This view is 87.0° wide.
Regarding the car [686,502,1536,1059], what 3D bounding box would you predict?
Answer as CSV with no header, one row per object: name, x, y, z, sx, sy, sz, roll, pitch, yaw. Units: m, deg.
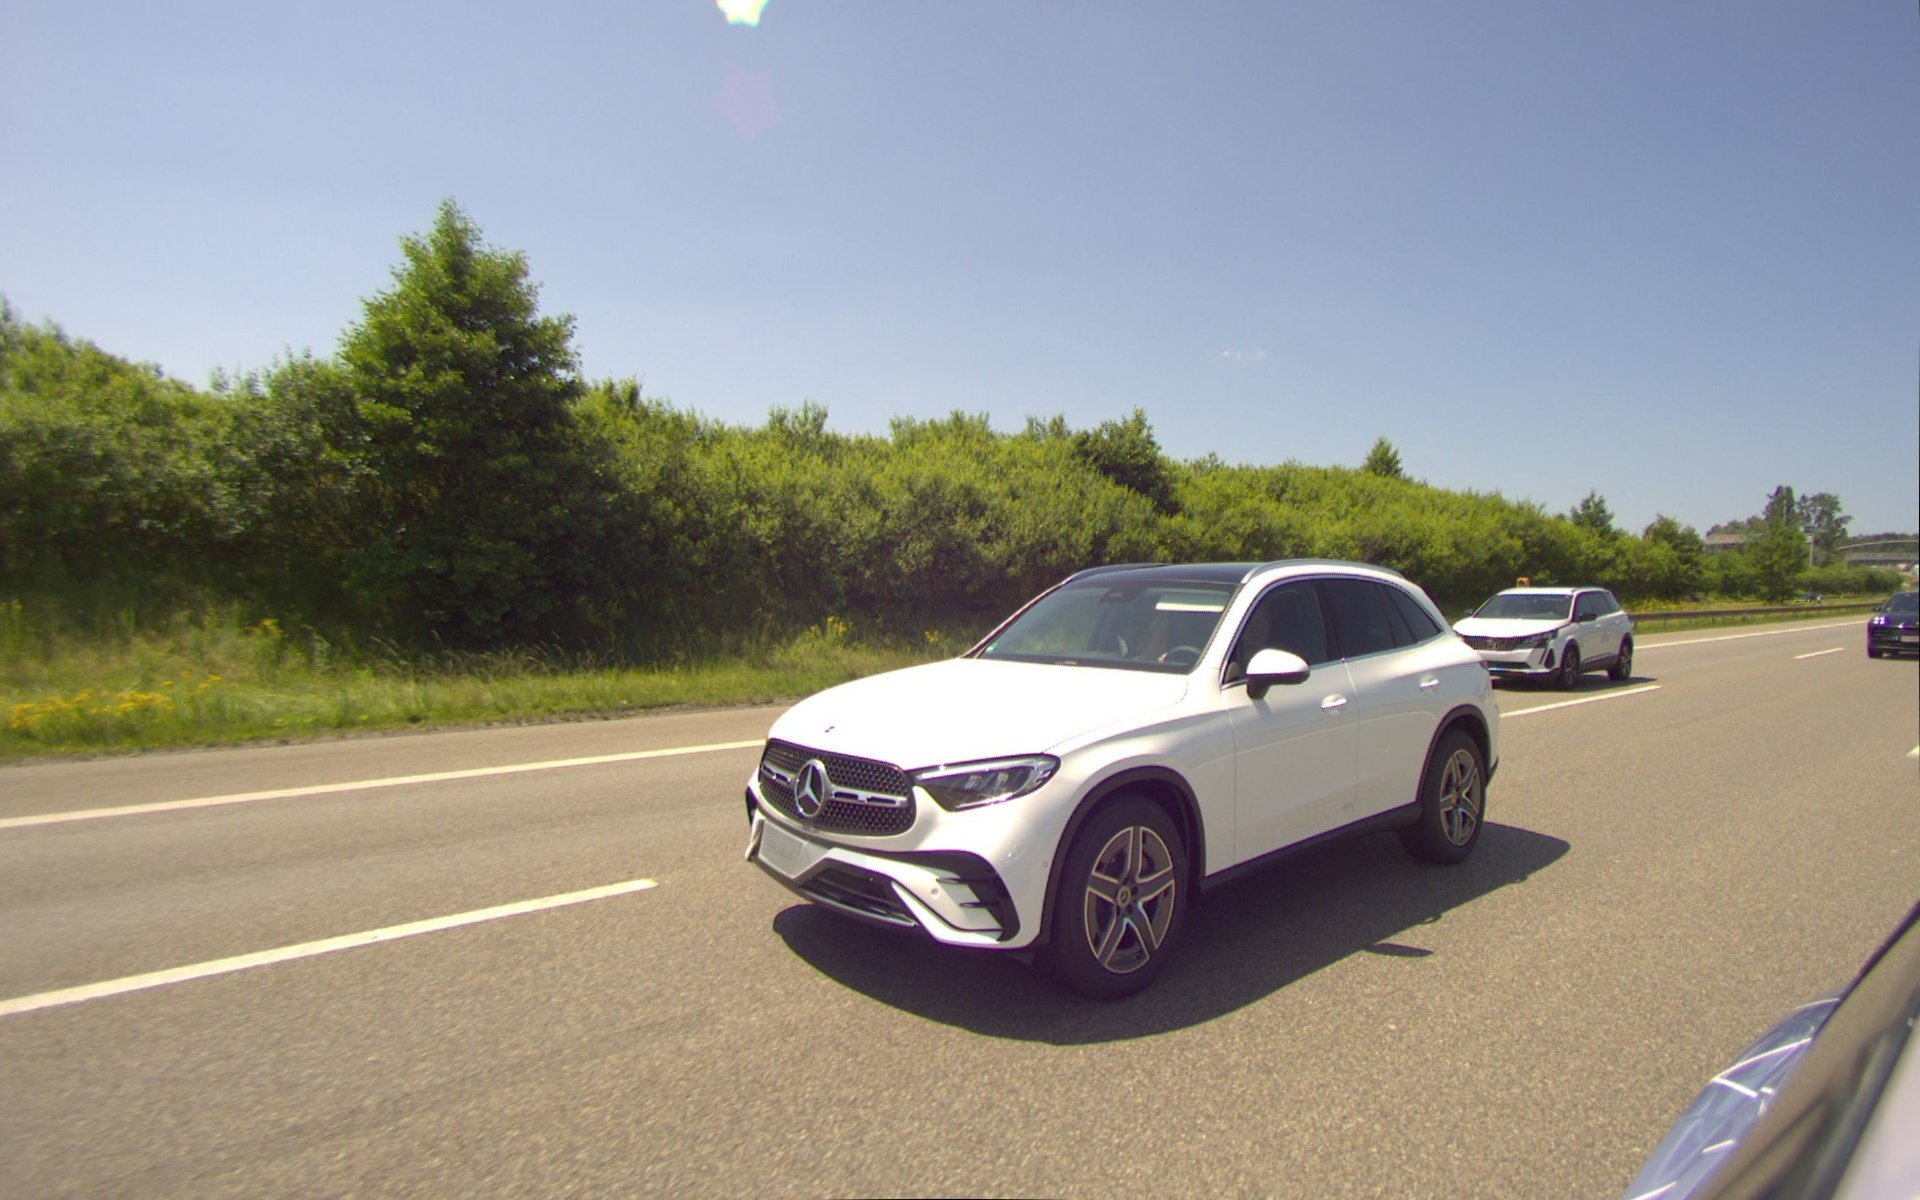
car,1.118,0.551,5.283,4.555,1.677,1.908,1,0,-41

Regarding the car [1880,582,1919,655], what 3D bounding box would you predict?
car,23.708,0.386,24.327,4.539,1.650,1.980,-1,1,-43

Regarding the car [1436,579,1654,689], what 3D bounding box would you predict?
car,10.142,0.472,17.398,4.537,1.650,1.897,-1,1,-41
